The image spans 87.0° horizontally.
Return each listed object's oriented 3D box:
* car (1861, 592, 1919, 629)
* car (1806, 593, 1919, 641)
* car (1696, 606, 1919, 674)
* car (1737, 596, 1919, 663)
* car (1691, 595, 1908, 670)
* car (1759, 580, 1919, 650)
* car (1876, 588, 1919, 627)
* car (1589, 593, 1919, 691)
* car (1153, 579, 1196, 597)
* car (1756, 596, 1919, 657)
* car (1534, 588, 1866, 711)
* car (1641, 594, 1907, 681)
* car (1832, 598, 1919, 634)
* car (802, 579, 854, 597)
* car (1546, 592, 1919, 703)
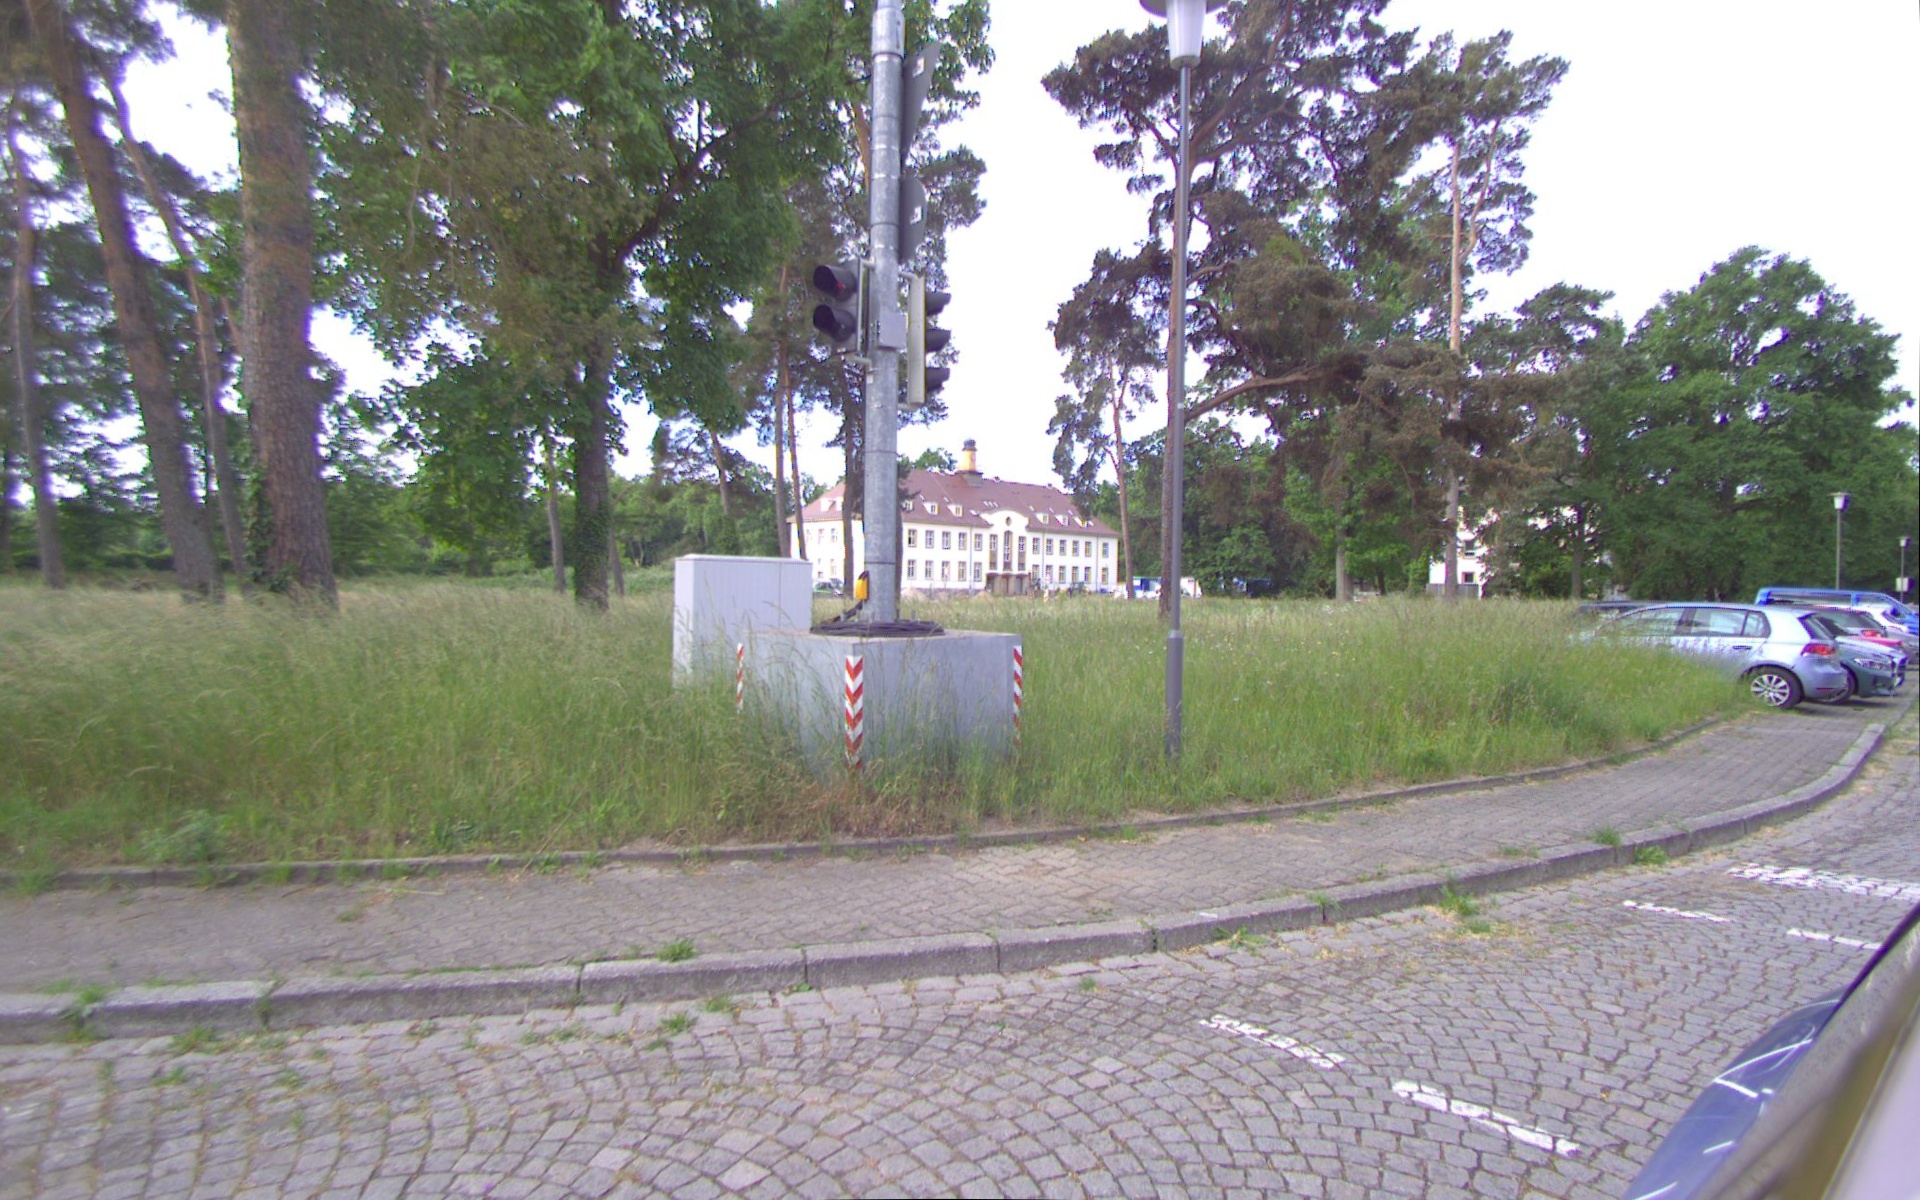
[{"bbox_3d":[48.636,0.532,51.453,1.966,1.784,4.004,0,1,-42],"label":"car"},{"bbox_3d":[34.032,0.607,37.441,1.966,1.630,3.992,0,1,-43],"label":"car"},{"bbox_3d":[18.122,0.807,21.658,1.469,1.222,3.596,1,1,-42],"label":"car"},{"bbox_3d":[22.118,0.685,25.429,1.788,1.474,3.847,0,1,-40],"label":"car"},{"bbox_3d":[19.711,0.700,23.852,1.770,1.524,3.779,0,1,-45],"label":"car"},{"bbox_3d":[27.826,0.430,31.207,1.967,1.963,4.743,0,2,-43],"label":"car"},{"bbox_3d":[51.922,0.436,54.268,1.966,2.039,3.993,0,1,-42],"label":"car"},{"bbox_3d":[14.675,0.674,18.817,1.782,1.501,4.763,0,1,-43],"label":"car"},{"bbox_3d":[24.709,-1.361,116.657,5.132,2.039,2.152,0,1,-41],"label":"car"},{"bbox_3d":[23.966,0.676,27.522,1.609,1.470,3.405,0,1,-42],"label":"car"},{"bbox_3d":[10.799,0.632,14.945,3.761,1.444,1.581,3,2,42],"label":"car"},{"bbox_3d":[16.272,0.670,20.367,1.769,1.470,3.967,0,1,-43],"label":"car"},{"bbox_3d":[41.205,0.672,44.645,1.966,1.549,3.991,0,0,-43],"label":"car"},{"bbox_3d":[-15.127,-1.413,115.865,6.164,1.882,2.307,2,1,38],"label":"car"},{"bbox_3d":[12.649,0.666,16.827,4.758,1.501,1.734,2,1,44],"label":"car"}]
